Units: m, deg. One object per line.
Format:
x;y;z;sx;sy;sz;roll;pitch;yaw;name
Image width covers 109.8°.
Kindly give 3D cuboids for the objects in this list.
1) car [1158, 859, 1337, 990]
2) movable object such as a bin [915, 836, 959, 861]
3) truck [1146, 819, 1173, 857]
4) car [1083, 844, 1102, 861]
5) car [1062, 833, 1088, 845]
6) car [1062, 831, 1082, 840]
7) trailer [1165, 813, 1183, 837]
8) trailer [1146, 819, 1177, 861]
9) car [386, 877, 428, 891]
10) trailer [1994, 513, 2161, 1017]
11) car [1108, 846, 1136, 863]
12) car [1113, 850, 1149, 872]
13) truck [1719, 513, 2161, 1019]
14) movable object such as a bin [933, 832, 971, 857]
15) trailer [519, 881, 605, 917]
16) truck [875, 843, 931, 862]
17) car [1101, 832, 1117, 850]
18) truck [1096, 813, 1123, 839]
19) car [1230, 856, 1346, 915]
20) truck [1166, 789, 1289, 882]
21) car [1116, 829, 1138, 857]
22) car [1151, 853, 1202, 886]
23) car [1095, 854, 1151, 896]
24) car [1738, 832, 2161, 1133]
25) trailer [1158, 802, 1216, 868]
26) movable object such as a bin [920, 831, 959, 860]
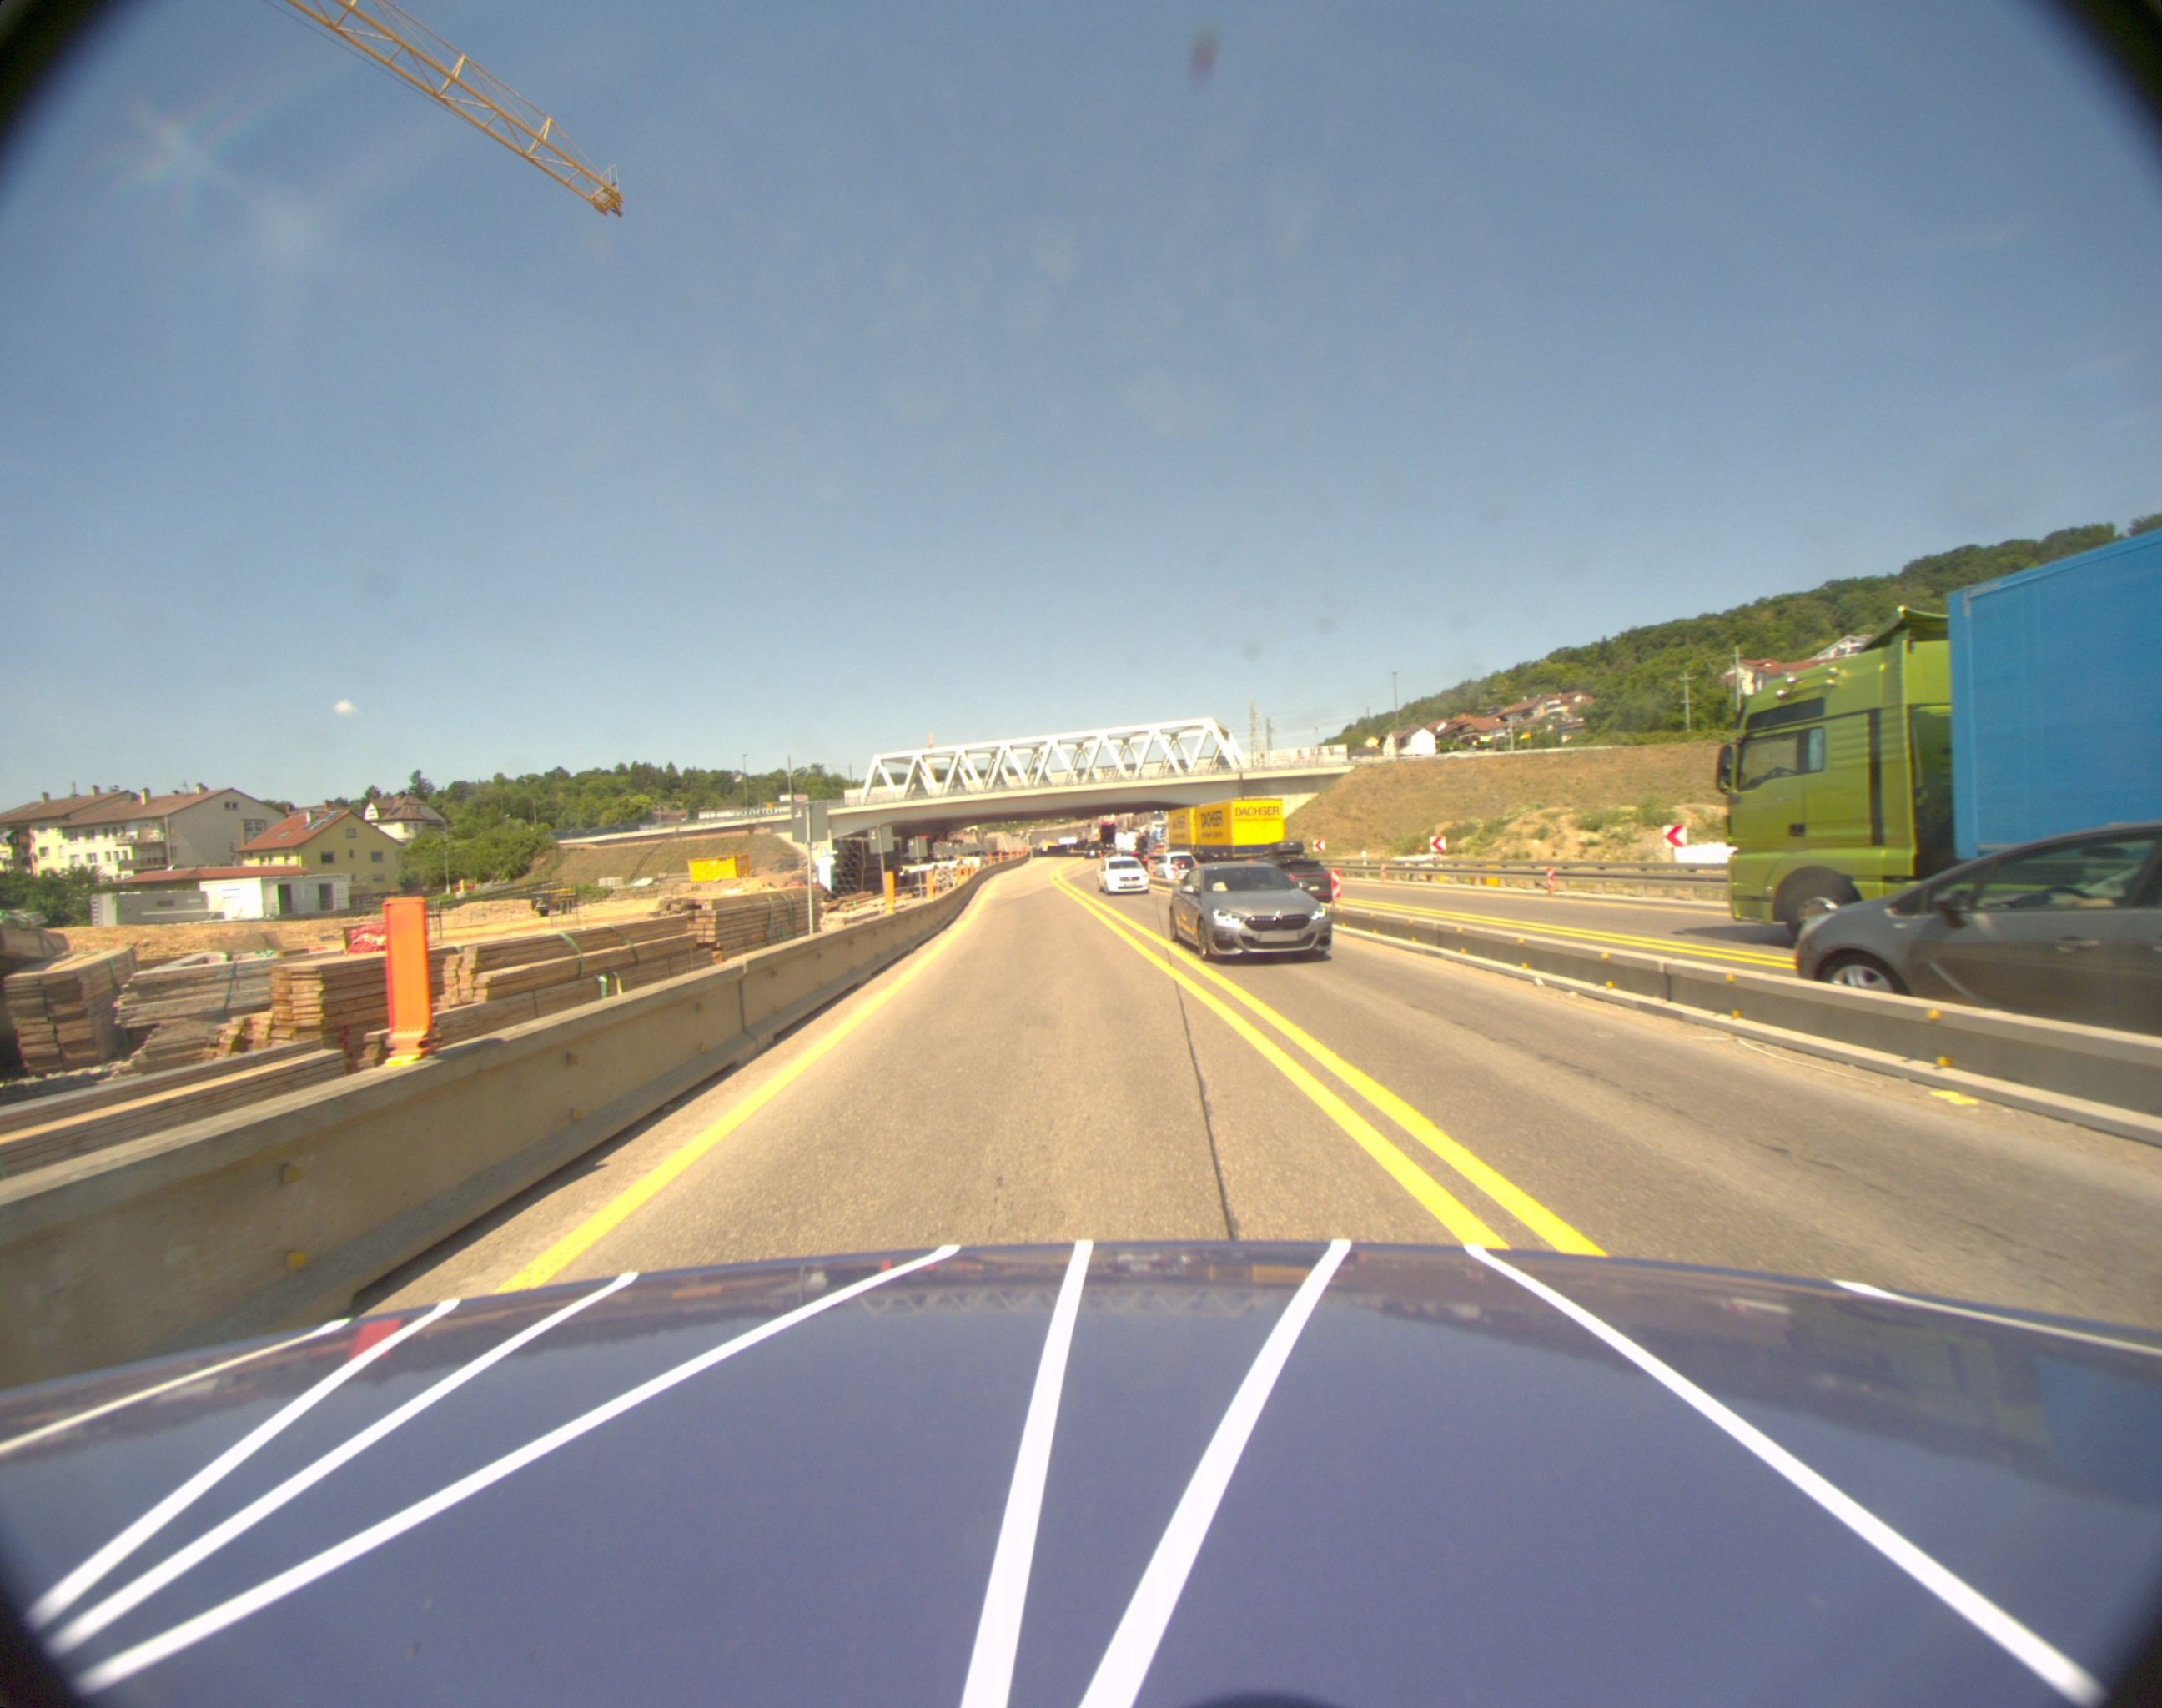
2.455;0.956;12.336;1.838;1.588;4.388;-2;1;-1;car
-20.218;-0.844;106.515;5.248;3.041;2.497;-3;4;12;movable object such as a bin
8.314;-1.747;80.599;2.539;3.801;4.950;-3;2;5;truck
1.143;-0.136;77.938;1.801;1.543;3.998;-3;2;-1;car
-1.467;-3.862;195.160;6.304;2.567;2.053;-6;2;-5;car
-2.164;-4.530;188.380;4.800;1.759;1.719;-4;3;3;car
17.108;-5.384;139.674;2.882;4.018;14.359;-4;2;8;trailer
7.851;-1.494;74.807;2.531;3.768;10.244;-3;2;4;trailer
-82.538;3.705;93.085;4.160;1.500;1.578;-2;4;11;car
10.326;-0.696;0.935;2.654;4.268;13.307;-3;1;2;trailer
3.392;0.028;63.506;1.681;1.257;4.333;-3;1;-5;car
3.373;0.462;51.750;1.681;1.354;4.500;-3;1;-5;car
10.416;-0.824;8.399;2.632;4.246;4.731;-4;1;0;truck
-19.308;-1.494;113.695;4.561;3.270;2.991;-3;4;12;movable object such as a bin
-27.794;2.378;40.840;1.627;1.478;3.826;-3;2;5;trailer
-23.128;-0.168;98.805;6.532;2.062;2.666;-3;3;12;truck
3.660;-1.752;100.055;1.998;2.003;3.997;-2;4;2;car
4.958;-4.874;130.015;3.461;4.026;10.209;-2;4;9;truck
5.839;0.825;22.063;1.825;1.427;4.582;-3;0;-3;car
7.911;-0.993;44.190;2.815;4.317;15.365;-3;1;-5;truck
4.753;-1.178;78.611;2.076;2.490;6.482;-2;3;4;car
4.563;0.722;36.798;1.641;1.477;3.999;-1;-1;-4;car
1.679;0.839;31.859;1.839;1.465;4.387;-2;1;-3;car
6.613;0.663;4.401;1.825;1.575;4.301;-2;0;-1;car
7.257;-1.305;52.678;2.874;4.206;5.215;-2;2;-4;trailer
-18.997;-1.155;102.169;3.886;3.524;2.905;-3;4;19;movable object such as a bin
